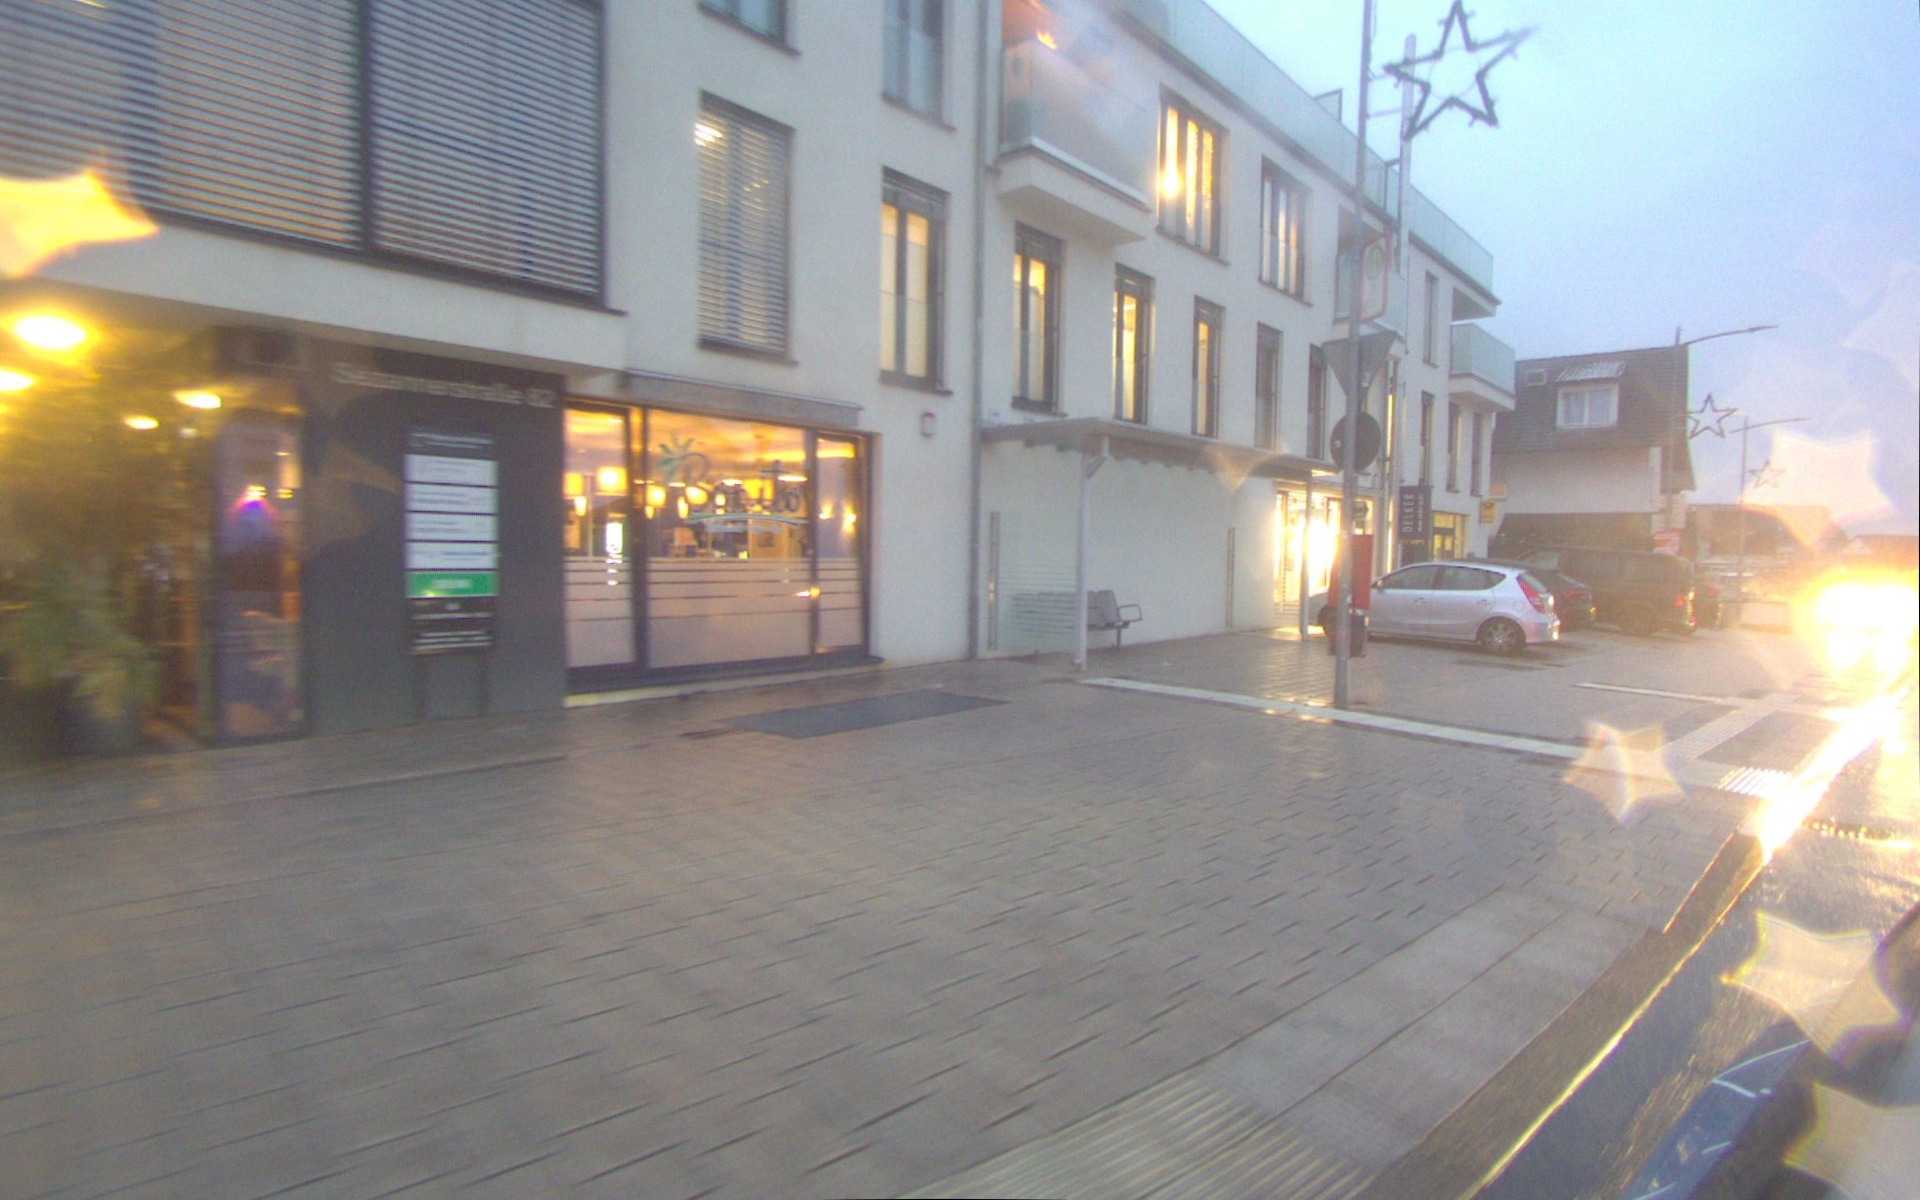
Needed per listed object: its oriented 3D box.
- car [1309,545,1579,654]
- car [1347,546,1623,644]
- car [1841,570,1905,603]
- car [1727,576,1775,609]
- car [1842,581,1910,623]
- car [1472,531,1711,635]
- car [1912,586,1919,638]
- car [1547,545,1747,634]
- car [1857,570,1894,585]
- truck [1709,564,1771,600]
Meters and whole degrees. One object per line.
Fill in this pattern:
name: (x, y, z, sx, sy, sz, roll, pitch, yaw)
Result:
car: (8.454, -0.105, 17.790, 3.977, 1.521, 1.791, 6, 5, 35)
car: (10.373, -0.198, 20.195, 4.507, 1.509, 1.946, 7, 6, 41)
car: (59.247, -0.891, 65.740, 1.980, 2.038, 3.965, 1, 2, 26)
car: (40.843, -0.408, 52.309, 1.839, 1.605, 3.718, 3, 2, 37)
car: (37.276, 0.054, 41.257, 1.826, 1.563, 3.663, 1, 2, 39)
car: (15.348, -0.483, 24.757, 4.541, 1.956, 1.945, 10, 7, 41)
car: (29.093, 0.331, 29.636, 1.737, 1.461, 3.937, 1, 2, 44)
car: (18.316, -0.347, 27.127, 4.134, 1.653, 1.732, 12, 8, 36)
car: (94.270, -2.327, 104.250, 1.783, 1.486, 4.218, 3, 3, 27)
truck: (52.142, -1.248, 67.809, 2.228, 2.258, 6.046, 1, 2, 28)
